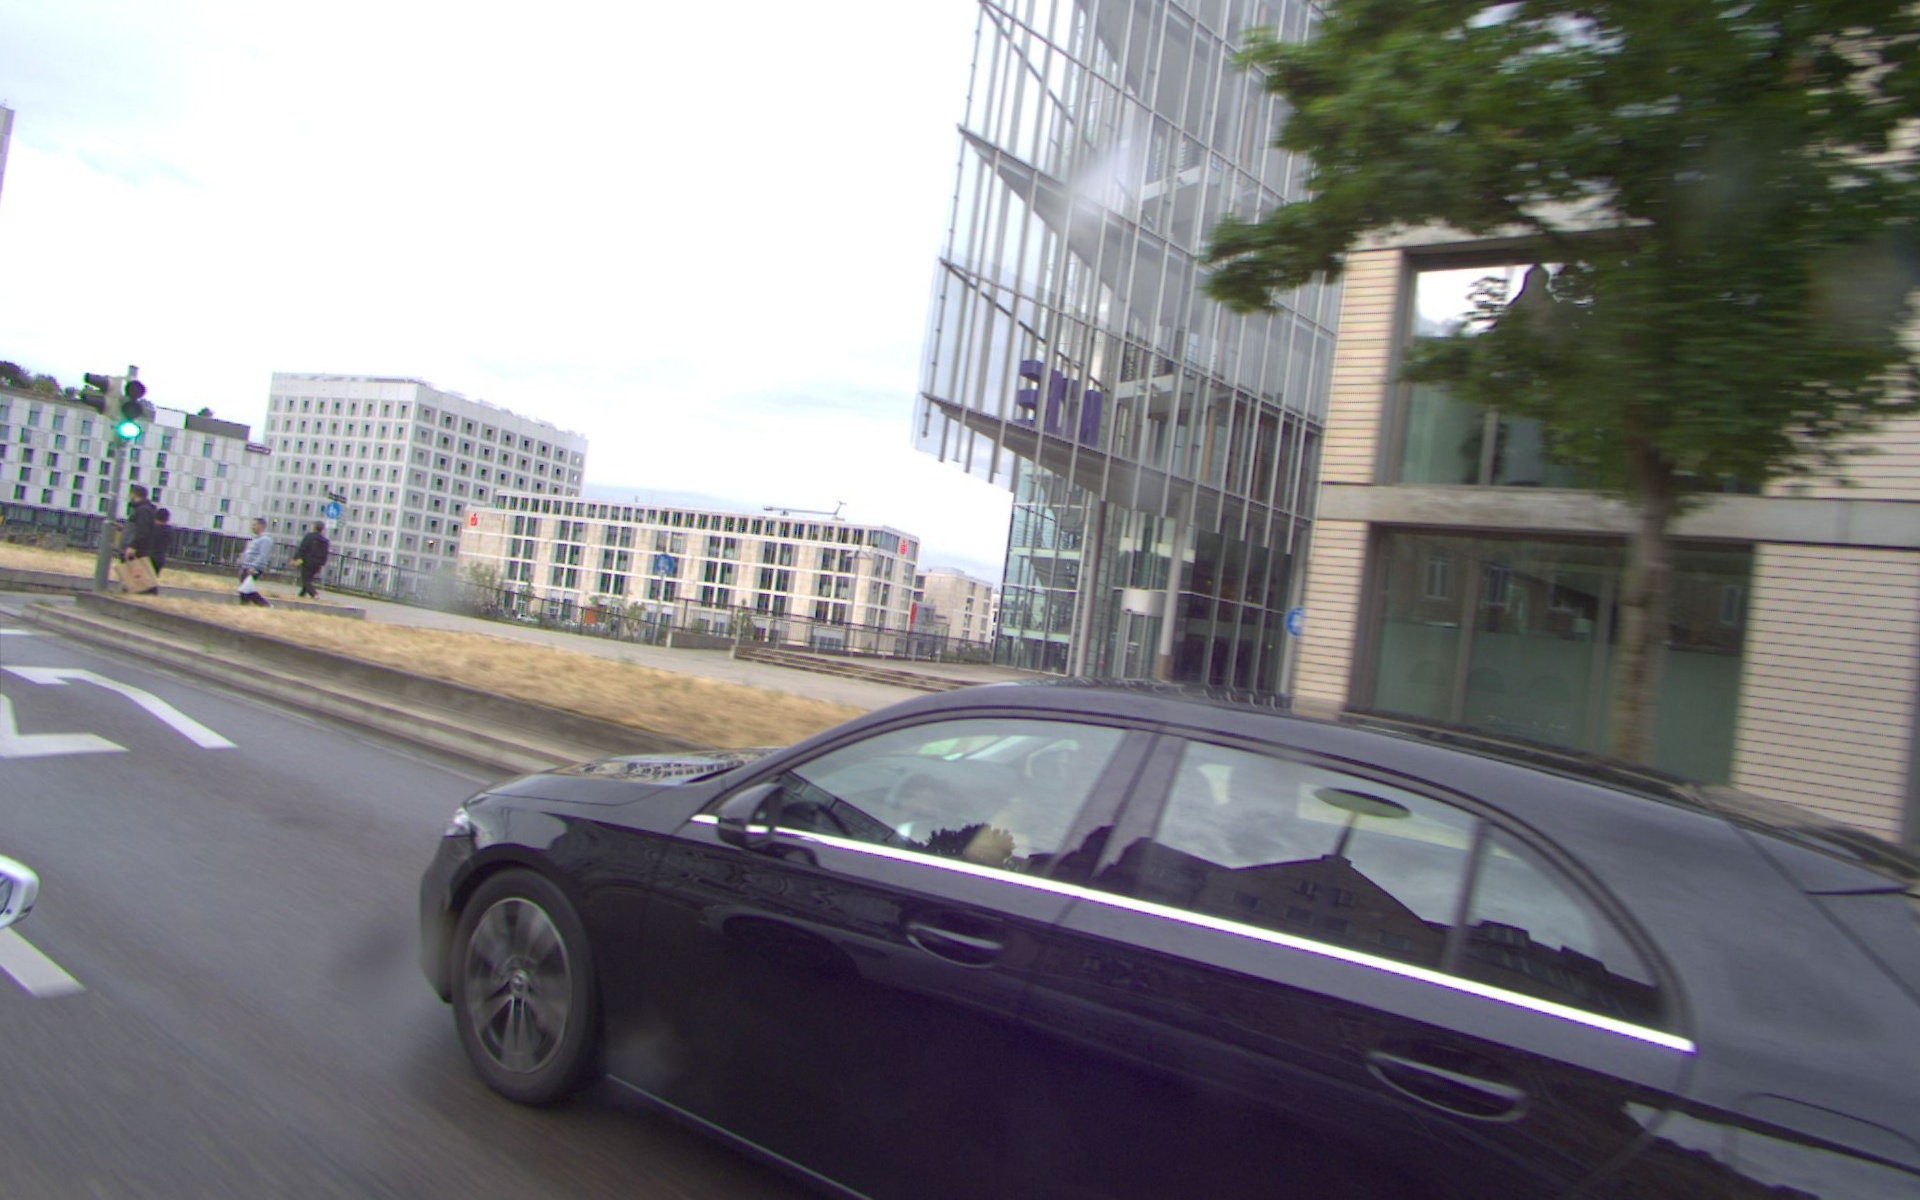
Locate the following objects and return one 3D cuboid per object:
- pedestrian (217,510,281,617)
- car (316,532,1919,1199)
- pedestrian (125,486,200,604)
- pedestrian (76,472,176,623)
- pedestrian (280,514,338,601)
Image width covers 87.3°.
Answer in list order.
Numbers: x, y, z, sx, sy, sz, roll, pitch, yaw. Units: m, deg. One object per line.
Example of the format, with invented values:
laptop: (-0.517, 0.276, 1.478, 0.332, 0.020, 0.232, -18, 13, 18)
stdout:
pedestrian: (-11.217, -0.578, 15.891, 0.544, 1.597, 0.666, 8, 1, -24)
car: (0.166, 0.816, 3.095, 4.134, 1.454, 1.876, 8, -1, 31)
pedestrian: (-11.464, -0.787, 14.475, 0.544, 1.597, 0.666, 8, 1, -24)
pedestrian: (-11.036, -0.682, 13.334, 0.542, 1.864, 0.781, 8, 1, -12)
pedestrian: (-12.734, -0.829, 19.695, 0.662, 1.597, 0.665, 8, 1, -21)
